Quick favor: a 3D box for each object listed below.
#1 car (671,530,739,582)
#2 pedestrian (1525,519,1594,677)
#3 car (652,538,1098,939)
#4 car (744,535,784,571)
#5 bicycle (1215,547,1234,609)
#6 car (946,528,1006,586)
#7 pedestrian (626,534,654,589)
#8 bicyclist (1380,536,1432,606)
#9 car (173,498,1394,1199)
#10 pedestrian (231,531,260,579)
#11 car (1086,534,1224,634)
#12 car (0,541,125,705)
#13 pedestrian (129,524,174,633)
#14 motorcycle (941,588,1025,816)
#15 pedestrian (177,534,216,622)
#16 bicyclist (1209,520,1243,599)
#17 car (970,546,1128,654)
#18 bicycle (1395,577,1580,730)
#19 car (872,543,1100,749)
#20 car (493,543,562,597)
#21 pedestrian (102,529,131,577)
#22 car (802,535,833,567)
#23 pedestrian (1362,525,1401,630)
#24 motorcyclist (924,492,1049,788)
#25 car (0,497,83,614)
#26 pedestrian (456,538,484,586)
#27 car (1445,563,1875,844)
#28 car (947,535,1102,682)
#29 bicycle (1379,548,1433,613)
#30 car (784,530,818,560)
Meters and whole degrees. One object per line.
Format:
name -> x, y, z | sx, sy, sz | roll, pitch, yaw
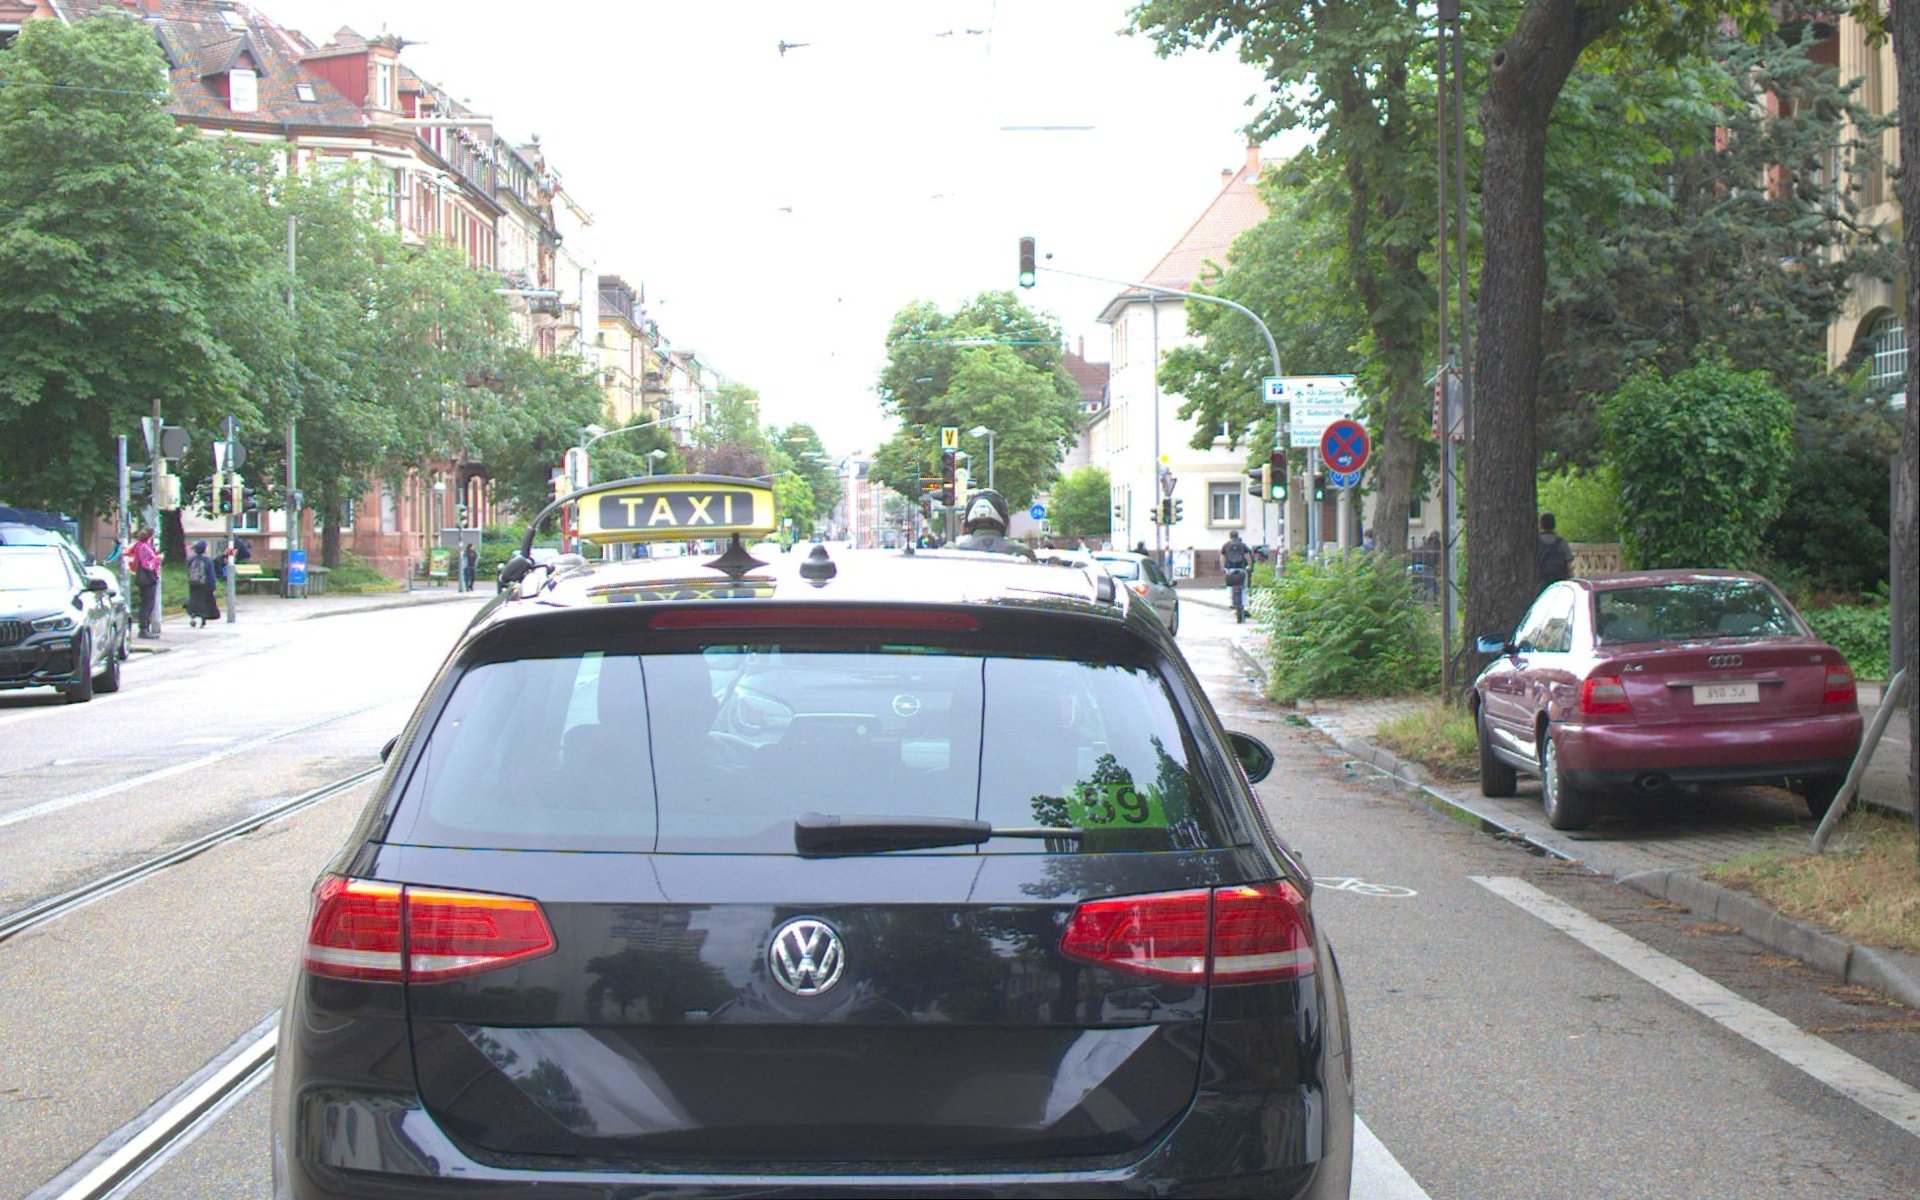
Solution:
car -> -8.999, -1.560, 121.562 | 1.993, 1.784, 4.000 | 1, 0, 2
pedestrian -> 6.915, -0.029, 39.675 | 0.632, 1.808, 0.726 | 0, 1, -3
car -> -0.349, 0.502, 15.296 | 1.723, 1.541, 4.000 | 0, 1, -1
car -> -9.154, -2.209, 160.591 | 1.721, 1.617, 3.864 | -1, 1, -1
bicycle -> 5.245, -0.443, 68.161 | 0.297, 1.219, 1.430 | 0, 1, 7
car -> 0.559, -1.511, 121.696 | 2.033, 2.007, 4.000 | 1, 0, -1
pedestrian -> -8.834, -1.068, 94.873 | 0.714, 1.515, 0.590 | 0, 1, 1
bicyclist -> 8.326, -0.540, 64.165 | 0.693, 1.297, 0.653 | -1, 1, -39
car -> -0.271, 0.590, 6.866 | 1.723, 1.541, 4.000 | 0, 1, -1
pedestrian -> -22.526, -1.428, 108.356 | 0.589, 1.515, 0.647 | 0, 1, 35
car -> 3.195, -0.268, 57.033 | 1.993, 1.572, 4.000 | 1, 0, -1
car -> -10.153, 0.226, 36.876 | 1.882, 1.606, 4.889 | -3, 1, -9
pedestrian -> -13.667, -0.368, 58.106 | 0.623, 1.836, 0.610 | 0, 1, -3
motorcycle -> 0.121, 0.560, 19.963 | 0.446, 1.231, 1.907 | 0, 1, -1
pedestrian -> -14.483, -0.427, 65.262 | 0.589, 1.657, 0.839 | 0, 1, -4
bicyclist -> 5.285, -0.804, 68.272 | 0.651, 1.563, 0.695 | 0, 1, 7
car -> 1.283, -0.025, 47.877 | 1.892, 1.403, 3.999 | -1, 1, 6
bicycle -> 4.282, 0.424, 27.790 | 0.433, 1.194, 1.899 | 1, 0, 45
car -> 0.176, 0.315, 27.995 | 1.723, 1.541, 4.000 | 0, 1, -1
car -> -11.851, -0.844, 94.318 | 1.608, 1.417, 3.487 | -1, 1, -3
pedestrian -> -26.319, -1.468, 107.231 | 0.589, 1.515, 0.647 | 0, 1, 35
car -> -9.236, -3.149, 223.065 | 1.993, 2.007, 4.000 | 1, 0, -2
pedestrian -> 7.466, -0.402, 60.875 | 0.514, 1.824, 0.417 | -3, 1, 16
motorcyclist -> 0.147, 0.219, 20.050 | 0.703, 1.686, 0.804 | 0, 1, -1
car -> -21.037, -0.949, 73.371 | 2.180, 2.409, 5.377 | -1, 1, -43
pedestrian -> -15.606, -1.205, 109.481 | 0.589, 1.515, 0.647 | 0, 1, 35
car -> 4.021, 0.530, 20.392 | 1.602, 1.394, 4.227 | -2, 1, -1
car -> 0.685, 0.077, 38.551 | 1.606, 1.550, 3.578 | 1, 0, -1
bicycle -> 8.322, -0.359, 64.148 | 1.153, 1.192, 0.253 | -1, 1, -38
car -> -8.743, -3.009, 188.965 | 1.721, 1.617, 3.864 | 0, 1, -1
